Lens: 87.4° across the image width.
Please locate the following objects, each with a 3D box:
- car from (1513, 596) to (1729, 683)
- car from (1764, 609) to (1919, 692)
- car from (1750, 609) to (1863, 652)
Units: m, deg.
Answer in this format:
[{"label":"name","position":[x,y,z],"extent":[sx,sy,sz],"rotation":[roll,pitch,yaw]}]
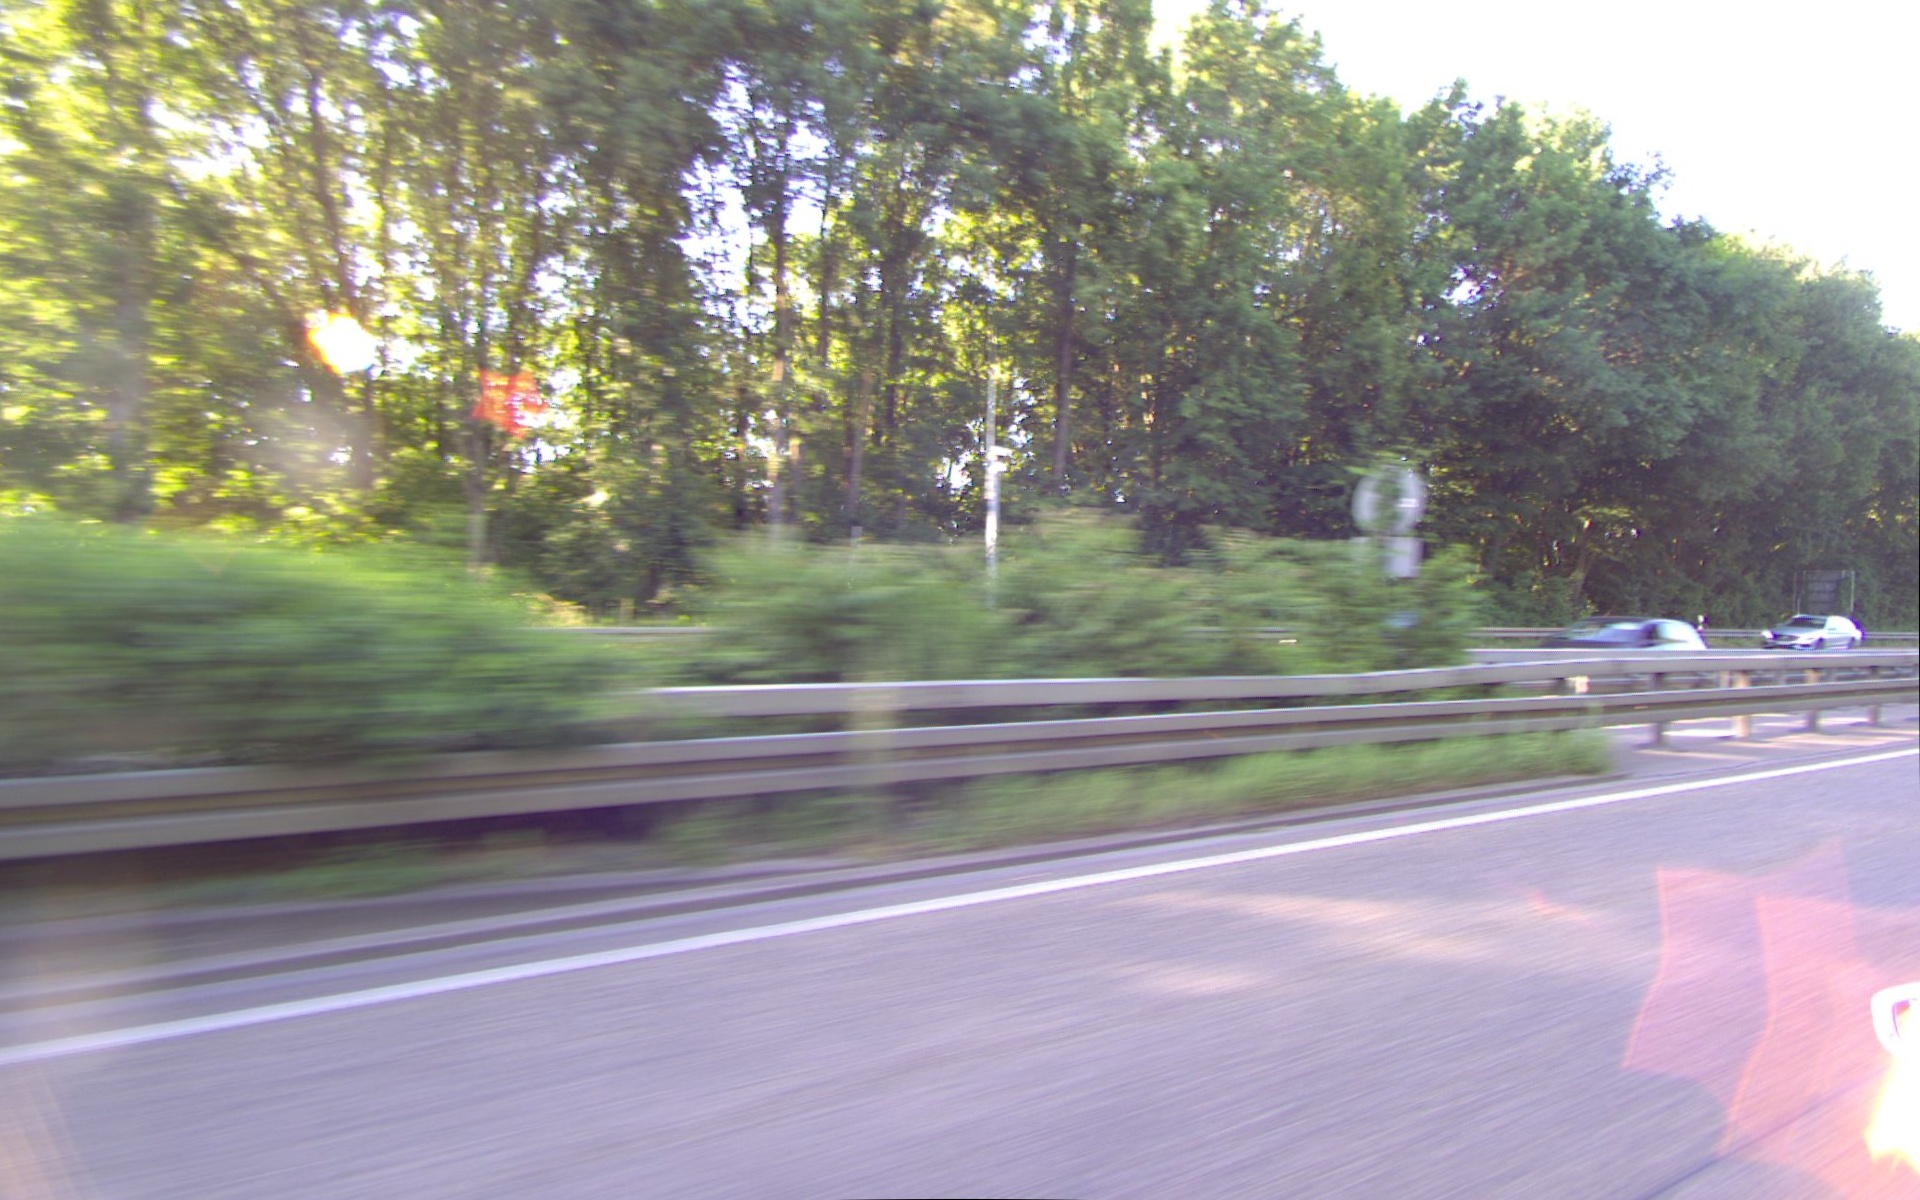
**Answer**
[{"label":"car","position":[13.120,0.760,19.907],"extent":[4.070,1.560,1.984],"rotation":[2,-1,-30]},{"label":"car","position":[21.677,1.213,24.618],"extent":[3.953,1.884,1.779],"rotation":[2,-1,-30]},{"label":"car","position":[33.551,1.210,39.783],"extent":[4.652,1.621,1.984],"rotation":[2,-1,-30]}]
